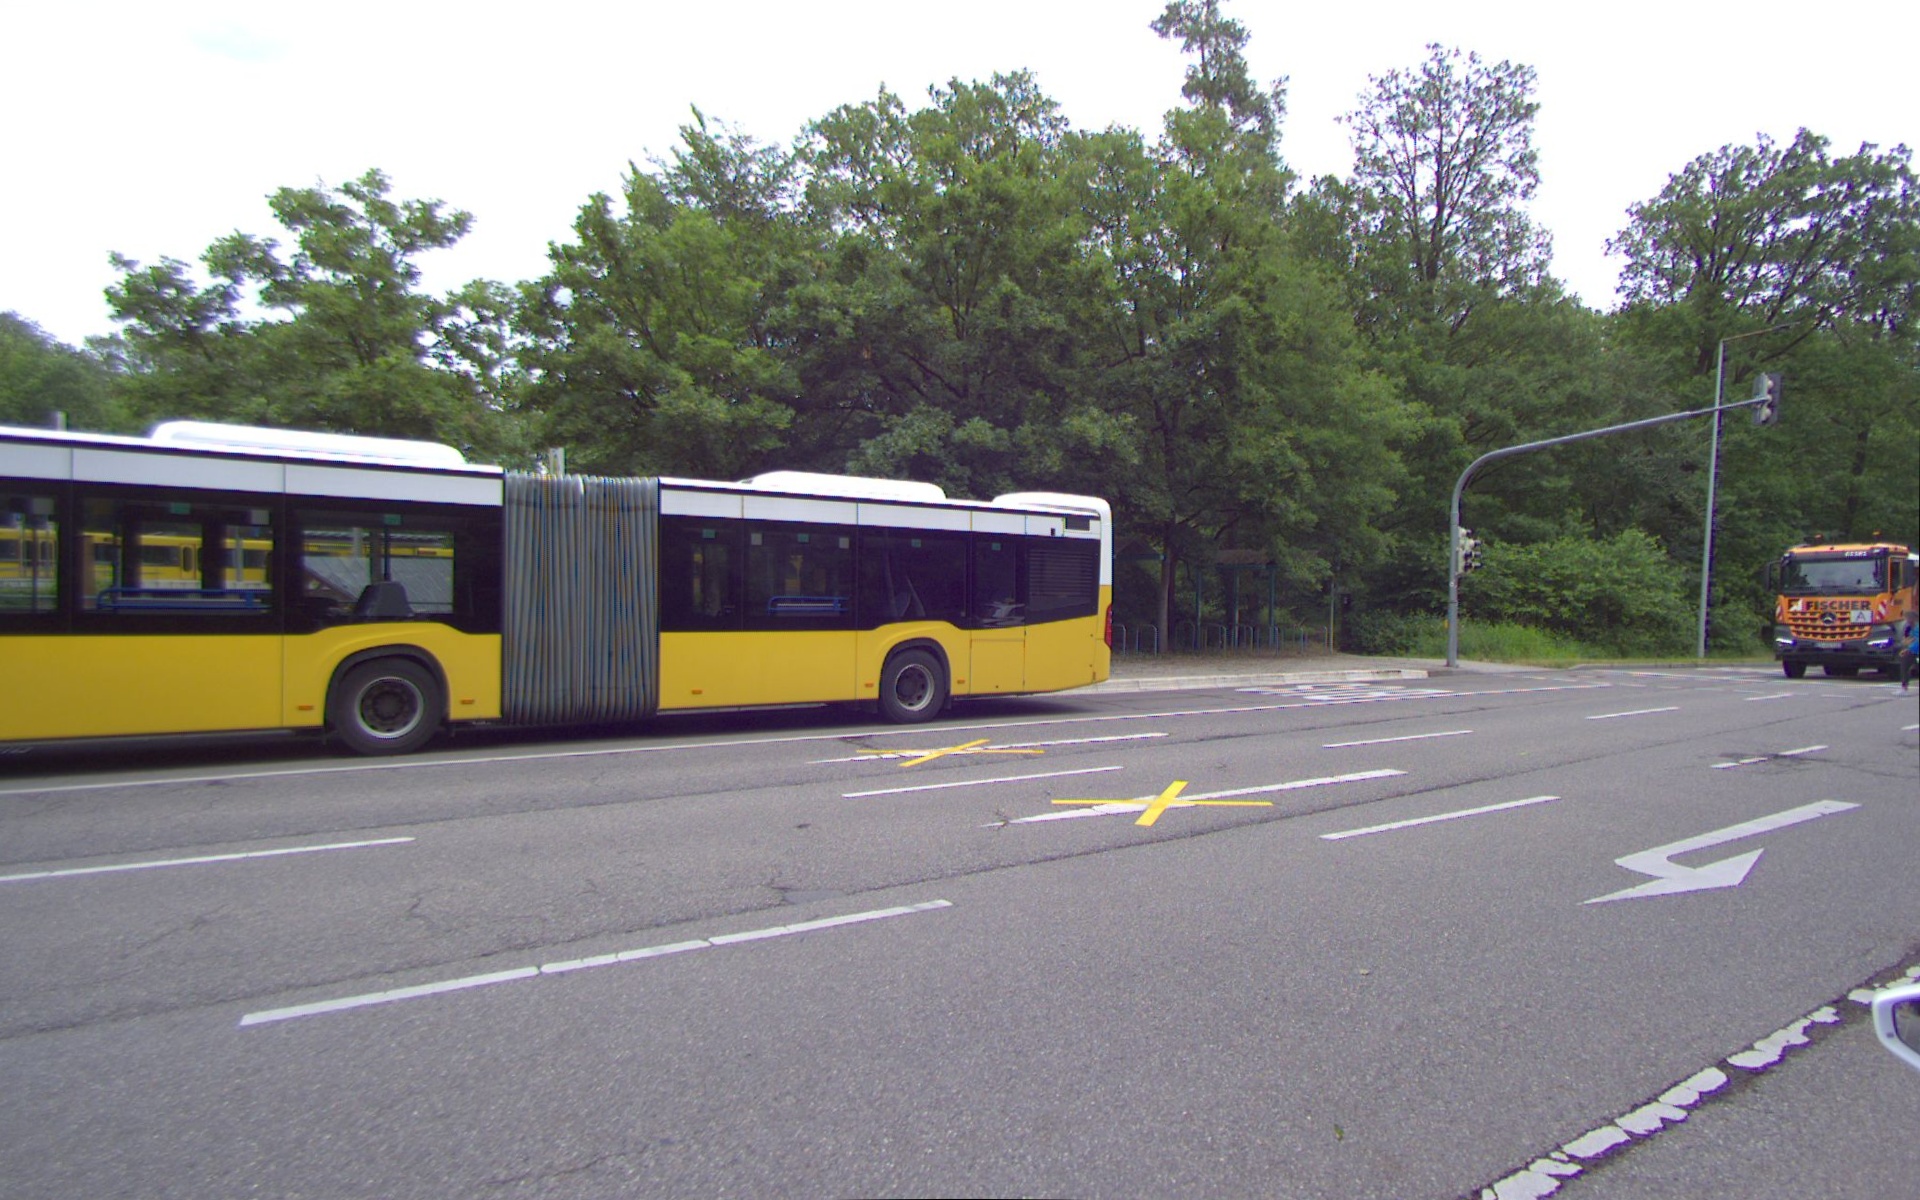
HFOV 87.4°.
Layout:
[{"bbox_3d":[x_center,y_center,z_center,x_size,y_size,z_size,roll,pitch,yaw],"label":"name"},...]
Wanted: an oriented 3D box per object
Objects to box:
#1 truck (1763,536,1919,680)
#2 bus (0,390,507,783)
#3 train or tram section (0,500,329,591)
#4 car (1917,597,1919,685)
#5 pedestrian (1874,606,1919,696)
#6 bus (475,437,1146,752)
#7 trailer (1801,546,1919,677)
[{"bbox_3d":[24.113,0.302,26.704,7.095,3.362,2.719,2,-2,-38],"label":"truck"},{"bbox_3d":[-9.397,-0.139,8.756,9.651,3.169,2.883,1,1,-32],"label":"bus"},{"bbox_3d":[-46.700,-2.969,57.647,3.520,4.595,18.656,2,2,27],"label":"train or tram section"},{"bbox_3d":[23.403,0.927,22.537,4.792,1.918,1.980,2,-2,-36],"label":"car"},{"bbox_3d":[18.254,0.947,19.072,1.056,1.671,1.043,0,0,-28],"label":"pedestrian"},{"bbox_3d":[-1.682,-0.016,13.645,8.598,3.169,2.883,1,1,-32],"label":"bus"},{"bbox_3d":[27.388,0.430,29.237,8.491,3.362,2.719,2,-2,-38],"label":"trailer"}]
